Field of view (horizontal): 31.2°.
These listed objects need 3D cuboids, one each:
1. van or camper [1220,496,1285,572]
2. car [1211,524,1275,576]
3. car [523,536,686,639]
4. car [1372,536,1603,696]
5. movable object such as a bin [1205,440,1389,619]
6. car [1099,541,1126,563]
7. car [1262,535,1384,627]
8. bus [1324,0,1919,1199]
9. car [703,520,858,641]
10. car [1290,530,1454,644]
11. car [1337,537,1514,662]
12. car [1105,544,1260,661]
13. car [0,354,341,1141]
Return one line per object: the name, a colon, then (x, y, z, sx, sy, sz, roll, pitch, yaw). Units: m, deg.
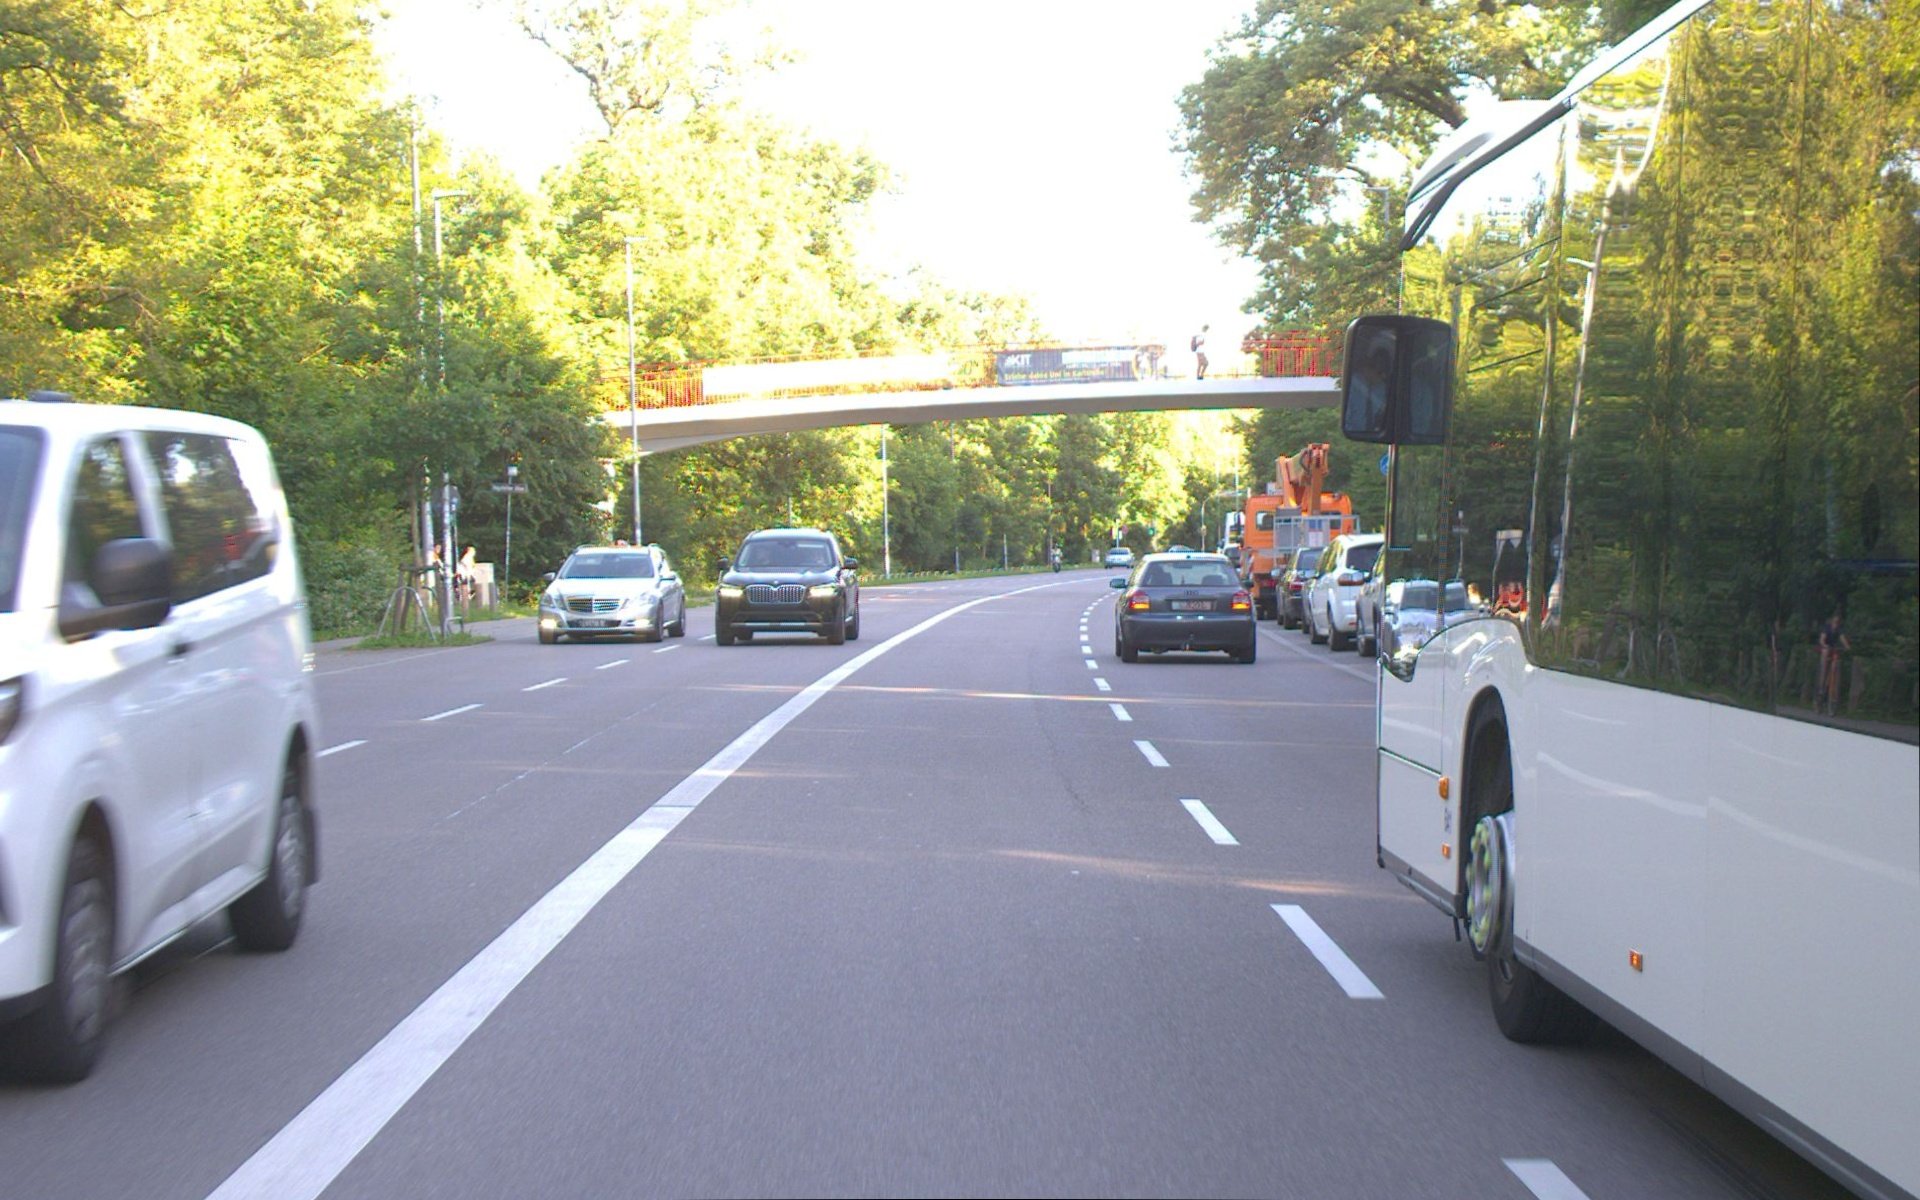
van or camper: (10.087, -2.290, 118.869, 2.119, 2.509, 5.979, -1, 1, 4)
car: (8.717, -1.546, 105.749, 1.723, 1.491, 3.774, -3, 1, 7)
car: (-5.477, -0.229, 53.480, 1.898, 1.526, 4.529, -1, 1, 2)
car: (5.337, 0.120, 35.247, 1.727, 1.519, 4.090, -1, 1, 0)
movable object such as a bin: (6.677, -1.414, 69.057, 2.758, 3.359, 7.601, -1, 1, -1)
car: (10.312, -3.268, 232.401, 1.681, 1.402, 3.889, -3, 1, 5)
car: (6.389, -0.358, 60.827, 1.727, 1.569, 4.090, 0, 1, 0)
bus: (2.897, -0.181, 7.373, 2.704, 3.211, 12.280, 0, 1, -1)
car: (-2.630, -0.323, 51.393, 1.918, 1.698, 4.442, -1, 1, 2)
car: (5.921, -0.219, 49.879, 1.838, 1.569, 4.459, 0, 1, 0)
car: (5.957, -0.038, 44.400, 1.727, 1.536, 4.090, 0, 1, 0)
car: (2.831, 0.001, 44.508, 1.727, 1.436, 4.090, 0, 1, 0)
car: (-3.500, 0.334, 10.973, 2.206, 1.954, 4.913, 0, 1, -1)
